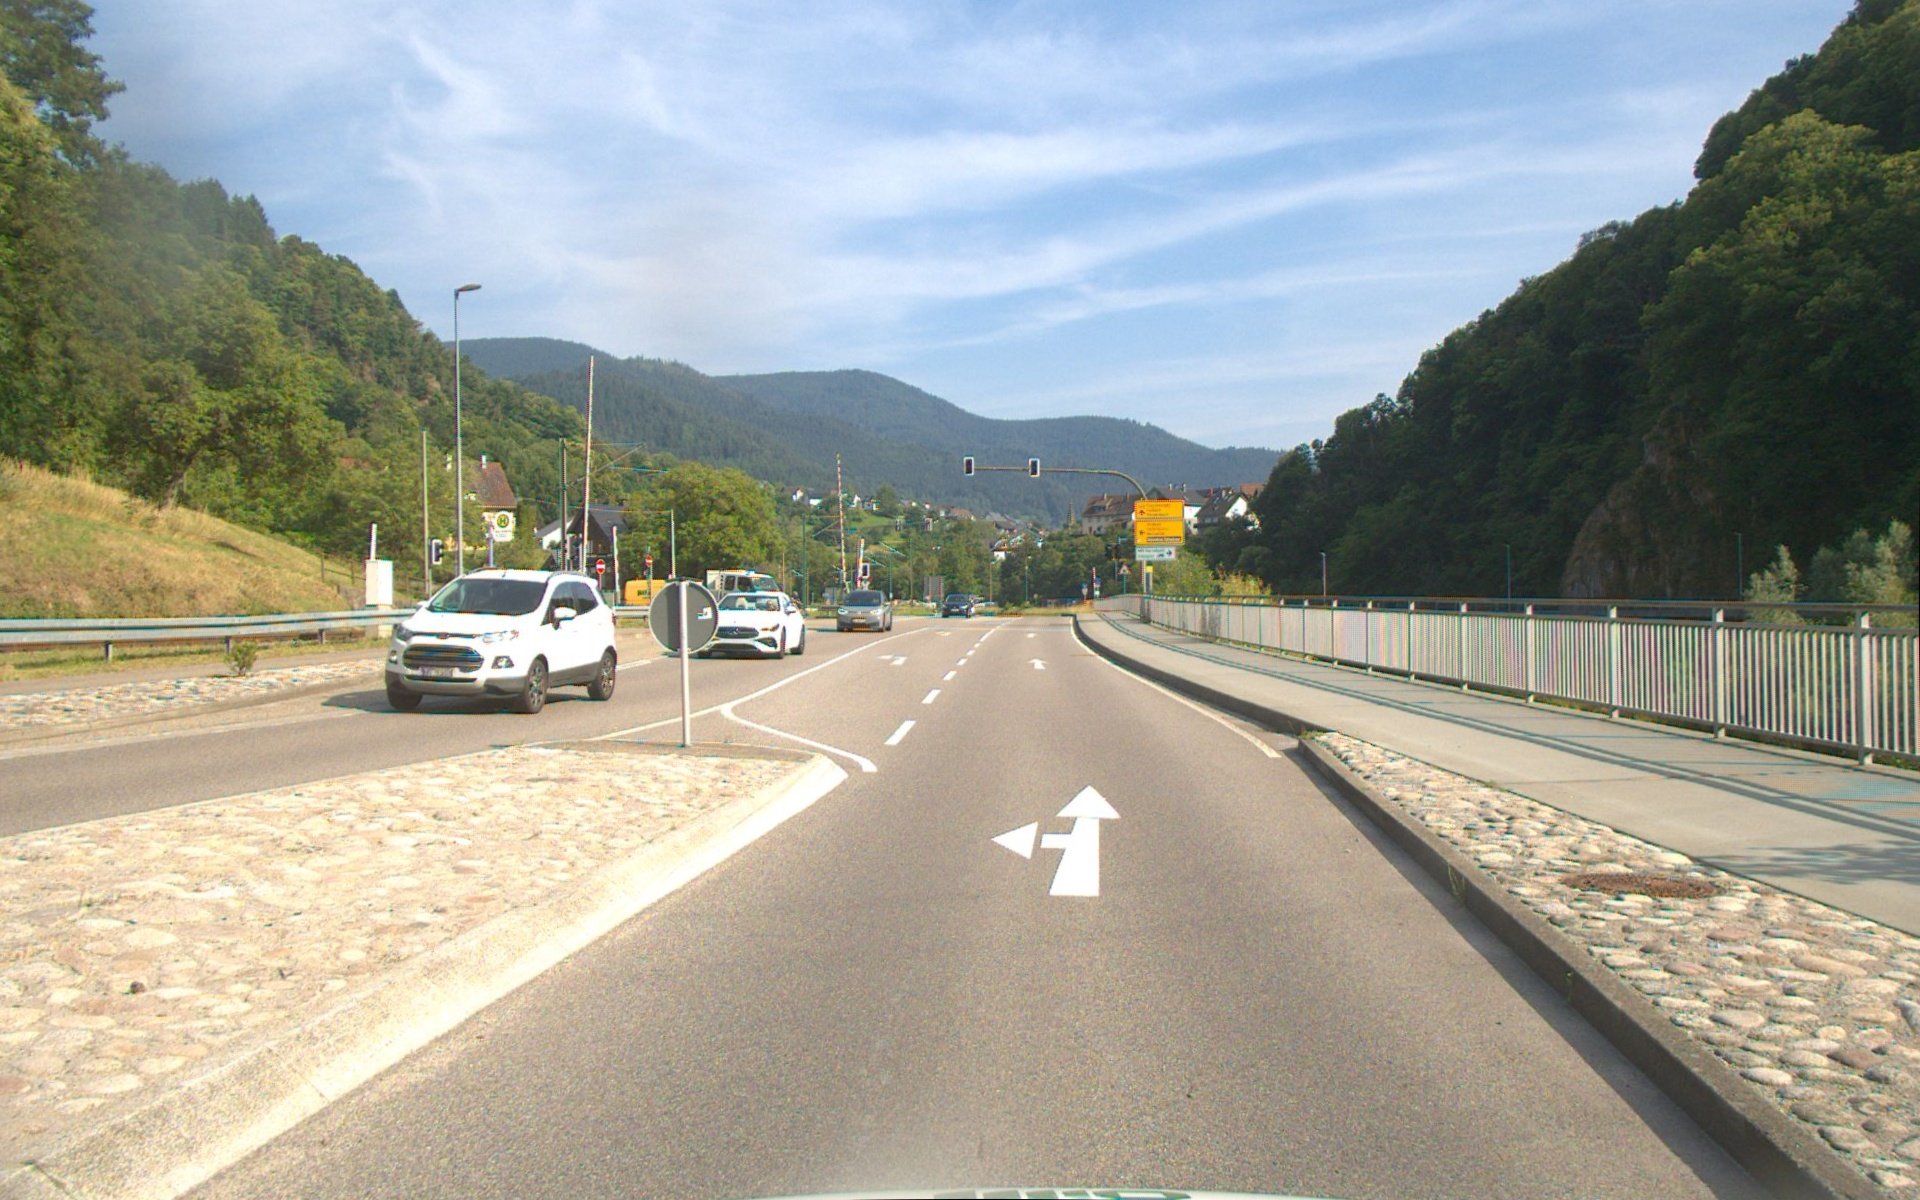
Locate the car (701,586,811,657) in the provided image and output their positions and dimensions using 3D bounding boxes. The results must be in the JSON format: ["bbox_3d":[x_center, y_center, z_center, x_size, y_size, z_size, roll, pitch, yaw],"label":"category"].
[{"bbox_3d":[-4.448,0.439,36.711,1.745,1.424,4.827,1,0,1],"label":"car"}]

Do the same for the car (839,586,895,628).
[{"bbox_3d":[-3.459,0.244,62.258,1.722,1.548,4.206,0,0,2],"label":"car"}]

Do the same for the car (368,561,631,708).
[{"bbox_3d":[-5.457,0.405,20.150,1.726,1.588,4.002,1,-1,6],"label":"car"}]

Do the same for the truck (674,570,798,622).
[{"bbox_3d":[-10.544,-0.180,77.525,5.878,2.306,1.994,1,-1,34],"label":"truck"}]

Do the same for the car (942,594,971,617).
[{"bbox_3d":[-0.205,0.344,104.881,1.736,1.441,3.786,0,0,2],"label":"car"}]
